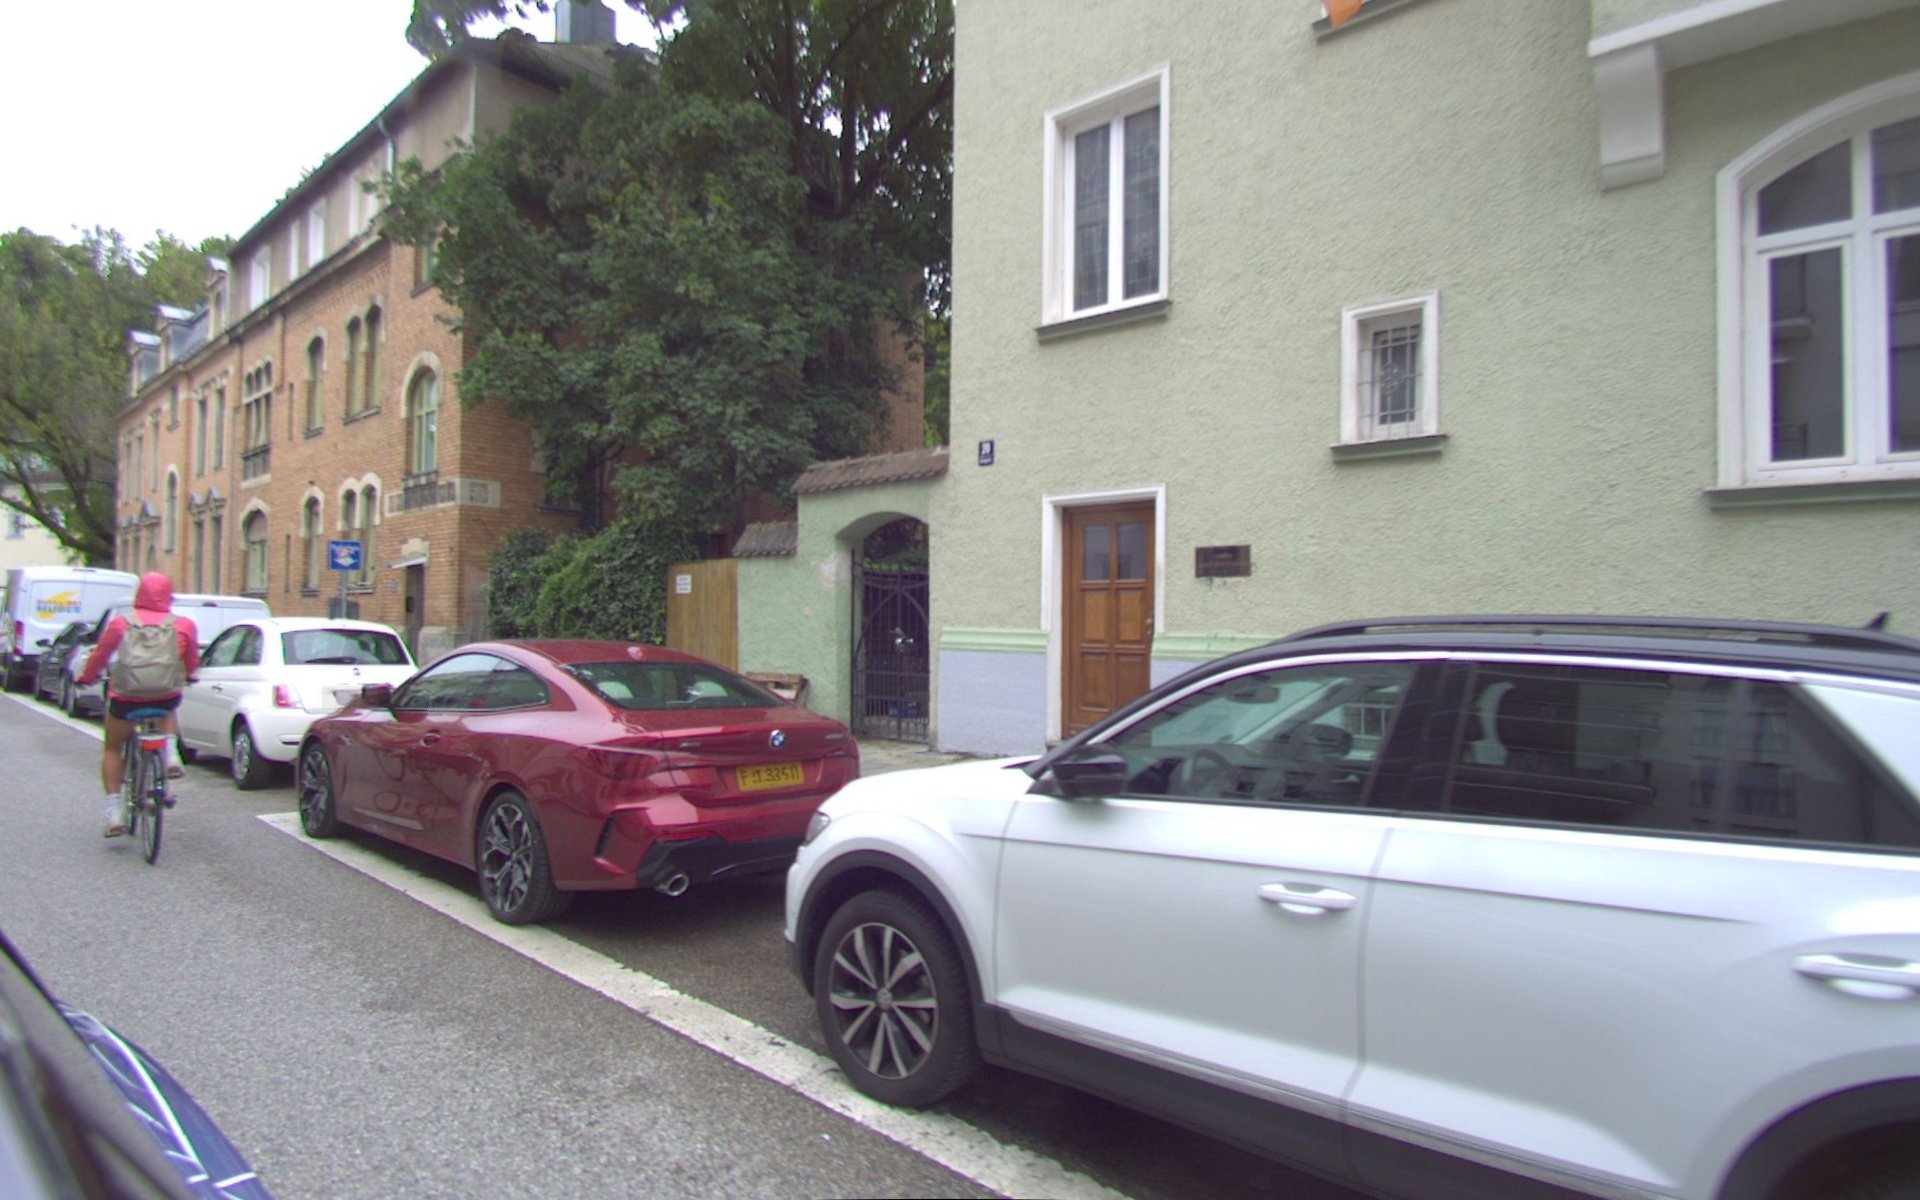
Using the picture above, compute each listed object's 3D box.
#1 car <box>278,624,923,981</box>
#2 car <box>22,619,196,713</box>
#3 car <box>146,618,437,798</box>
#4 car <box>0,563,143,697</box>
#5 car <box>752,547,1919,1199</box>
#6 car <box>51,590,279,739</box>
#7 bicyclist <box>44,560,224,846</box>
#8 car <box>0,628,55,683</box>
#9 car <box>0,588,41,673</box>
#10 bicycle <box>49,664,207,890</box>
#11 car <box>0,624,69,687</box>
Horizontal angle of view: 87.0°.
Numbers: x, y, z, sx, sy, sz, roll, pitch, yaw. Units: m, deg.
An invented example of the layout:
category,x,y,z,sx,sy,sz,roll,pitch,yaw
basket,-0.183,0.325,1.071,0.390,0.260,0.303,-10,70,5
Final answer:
category,x,y,z,sx,sy,sz,roll,pitch,yaw
car,-2.464,0.924,6.341,4.330,1.423,1.841,0,-3,40
car,-14.891,1.097,17.643,4.143,1.454,1.672,-1,-4,41
car,-6.631,0.942,9.937,3.311,1.478,1.458,-1,-3,40
car,-19.112,0.645,21.368,5.221,2.497,1.960,-1,-4,42
car,1.333,0.784,2.846,3.918,1.615,1.669,-1,-4,40
car,-11.341,0.856,14.343,4.142,1.817,1.672,-1,-4,40
bicyclist,-5.046,0.589,6.177,0.967,1.573,0.686,-2,-4,44
car,-26.722,1.527,28.224,3.982,1.454,1.672,-2,-4,41
car,-30.787,0.964,31.938,4.420,2.560,2.090,-2,-6,42
bicycle,-5.070,0.981,6.126,1.773,1.137,0.498,-2,-4,44
car,-23.287,1.343,24.924,3.539,1.454,1.507,-2,-4,41
